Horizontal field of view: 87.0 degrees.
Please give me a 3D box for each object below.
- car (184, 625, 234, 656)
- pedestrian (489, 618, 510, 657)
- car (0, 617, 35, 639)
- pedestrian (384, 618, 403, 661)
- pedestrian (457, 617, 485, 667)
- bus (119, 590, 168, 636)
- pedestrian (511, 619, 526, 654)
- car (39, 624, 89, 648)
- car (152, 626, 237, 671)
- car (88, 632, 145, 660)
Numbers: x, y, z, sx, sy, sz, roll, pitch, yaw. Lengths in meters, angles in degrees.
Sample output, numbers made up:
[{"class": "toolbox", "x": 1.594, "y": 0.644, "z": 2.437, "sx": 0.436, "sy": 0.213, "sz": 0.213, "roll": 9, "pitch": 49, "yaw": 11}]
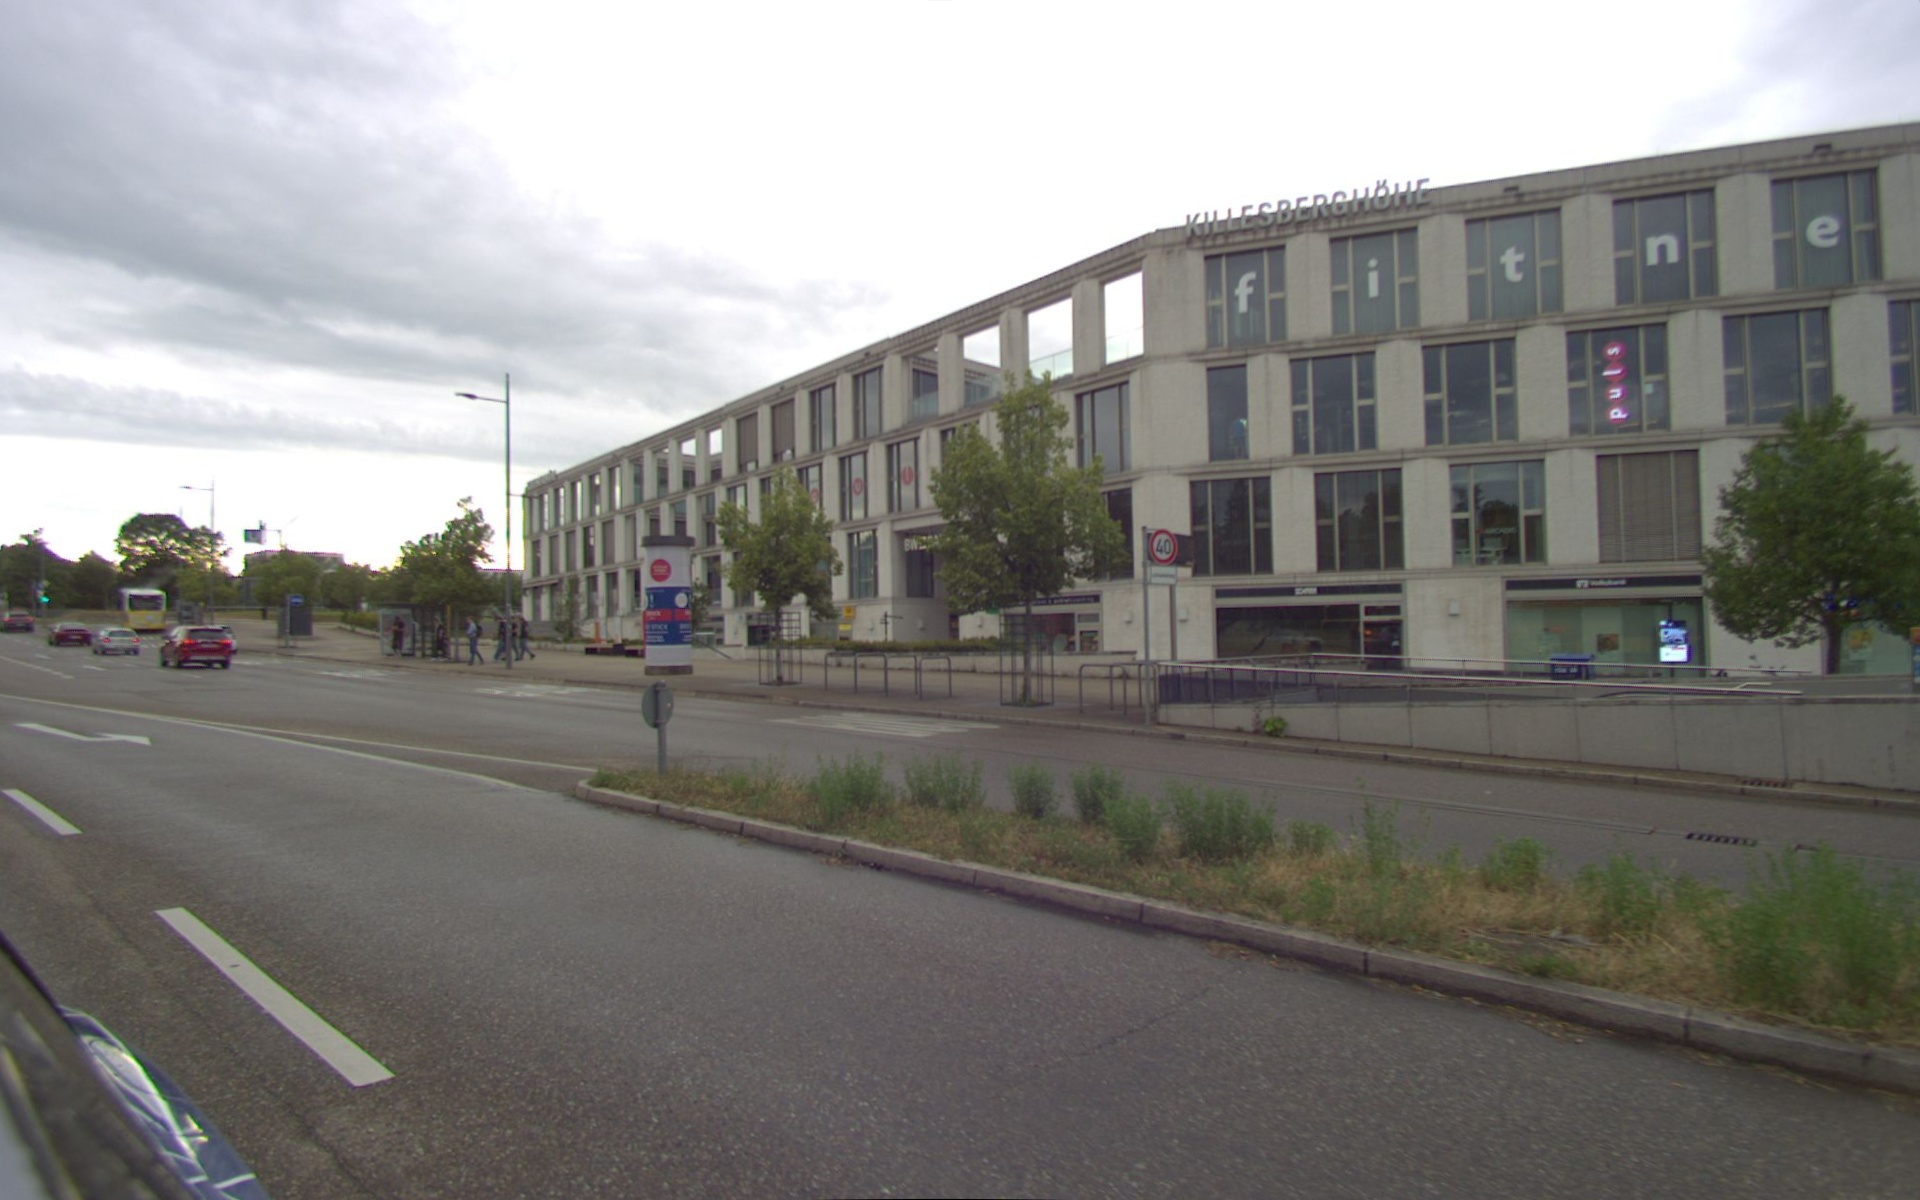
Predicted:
[{"class": "car", "x": -40.257, "y": 2.170, "z": 54.266, "sx": 2.972, "sy": 1.519, "sz": 1.596, "roll": 0, "pitch": 1, "yaw": 42}, {"class": "pedestrian", "x": -20.746, "y": 1.677, "z": 45.550, "sx": 0.857, "sy": 1.775, "sz": 0.592, "roll": -1, "pitch": -1, "yaw": 44}, {"class": "car", "x": -75.992, "y": 2.231, "z": 81.464, "sx": 4.592, "sy": 1.584, "sz": 1.812, "roll": 0, "pitch": -3, "yaw": 42}, {"class": "pedestrian", "x": -24.688, "y": 1.705, "z": 44.084, "sx": 0.755, "sy": 1.856, "sz": 0.502, "roll": -1, "pitch": -1, "yaw": 41}, {"class": "pedestrian", "x": -18.446, "y": 1.580, "z": 38.182, "sx": 0.747, "sy": 1.856, "sz": 0.744, "roll": -1, "pitch": -1, "yaw": 44}, {"class": "bus", "x": -65.846, "y": 0.958, "z": 81.559, "sx": 2.787, "sy": 3.498, "sz": 8.244, "roll": -1, "pitch": 2, "yaw": -41}, {"class": "pedestrian", "x": -18.483, "y": 1.517, "z": 42.348, "sx": 0.510, "sy": 1.462, "sz": 0.421, "roll": -1, "pitch": -1, "yaw": 42}, {"class": "car", "x": -56.480, "y": 2.253, "z": 63.783, "sx": 4.464, "sy": 1.427, "sz": 1.812, "roll": -2, "pitch": -4, "yaw": 42}, {"class": "car", "x": -31.080, "y": 1.957, "z": 41.050, "sx": 4.736, "sy": 1.696, "sz": 1.833, "roll": -2, "pitch": -4, "yaw": 42}, {"class": "car", "x": -44.990, "y": 2.445, "z": 53.954, "sx": 3.877, "sy": 1.427, "sz": 1.743, "roll": -2, "pitch": -4, "yaw": 42}]
